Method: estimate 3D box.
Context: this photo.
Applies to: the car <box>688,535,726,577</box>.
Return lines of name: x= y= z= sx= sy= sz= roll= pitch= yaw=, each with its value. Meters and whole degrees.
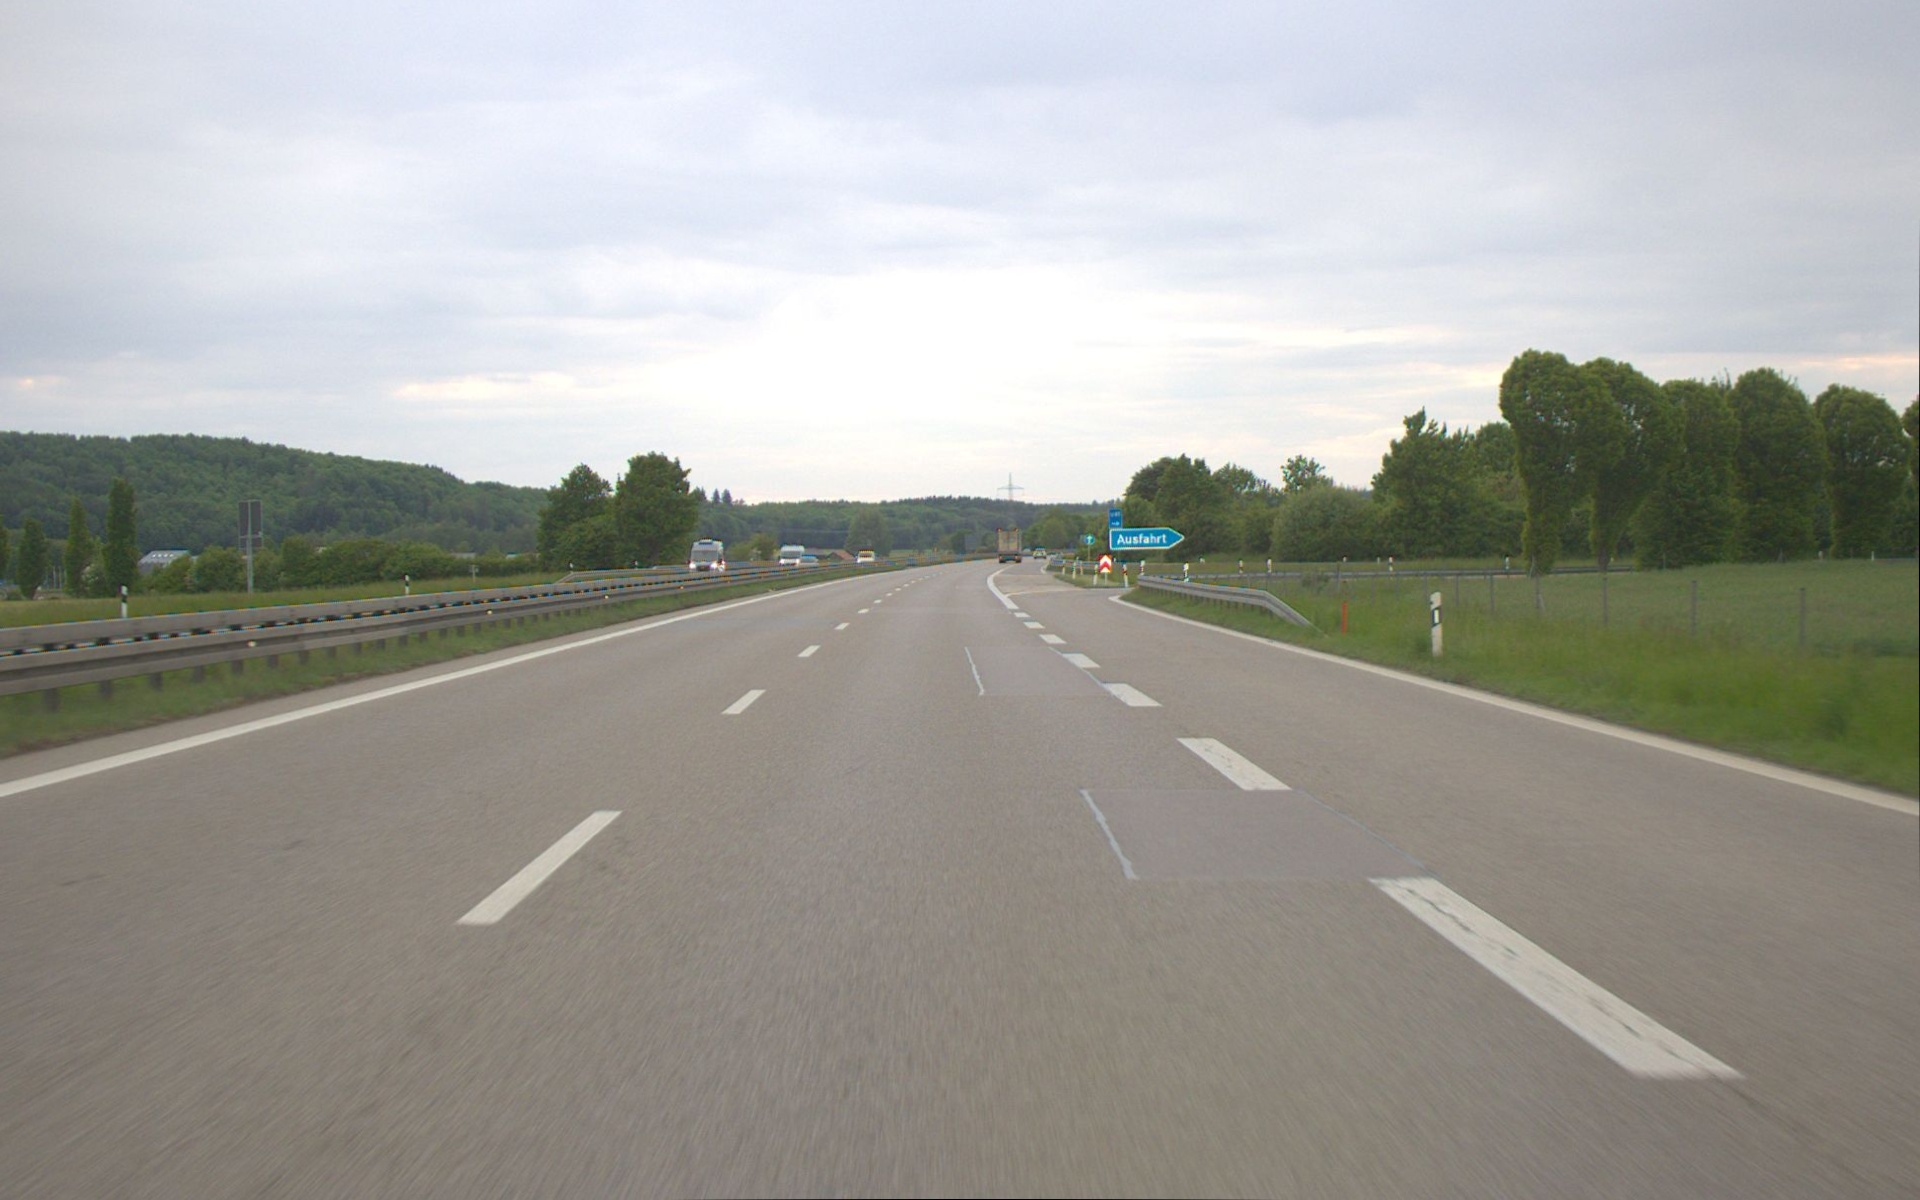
car: x=-17.403 y=-3.034 z=236.608 sx=2.106 sy=2.791 sz=6.427 roll=1 pitch=1 yaw=0
